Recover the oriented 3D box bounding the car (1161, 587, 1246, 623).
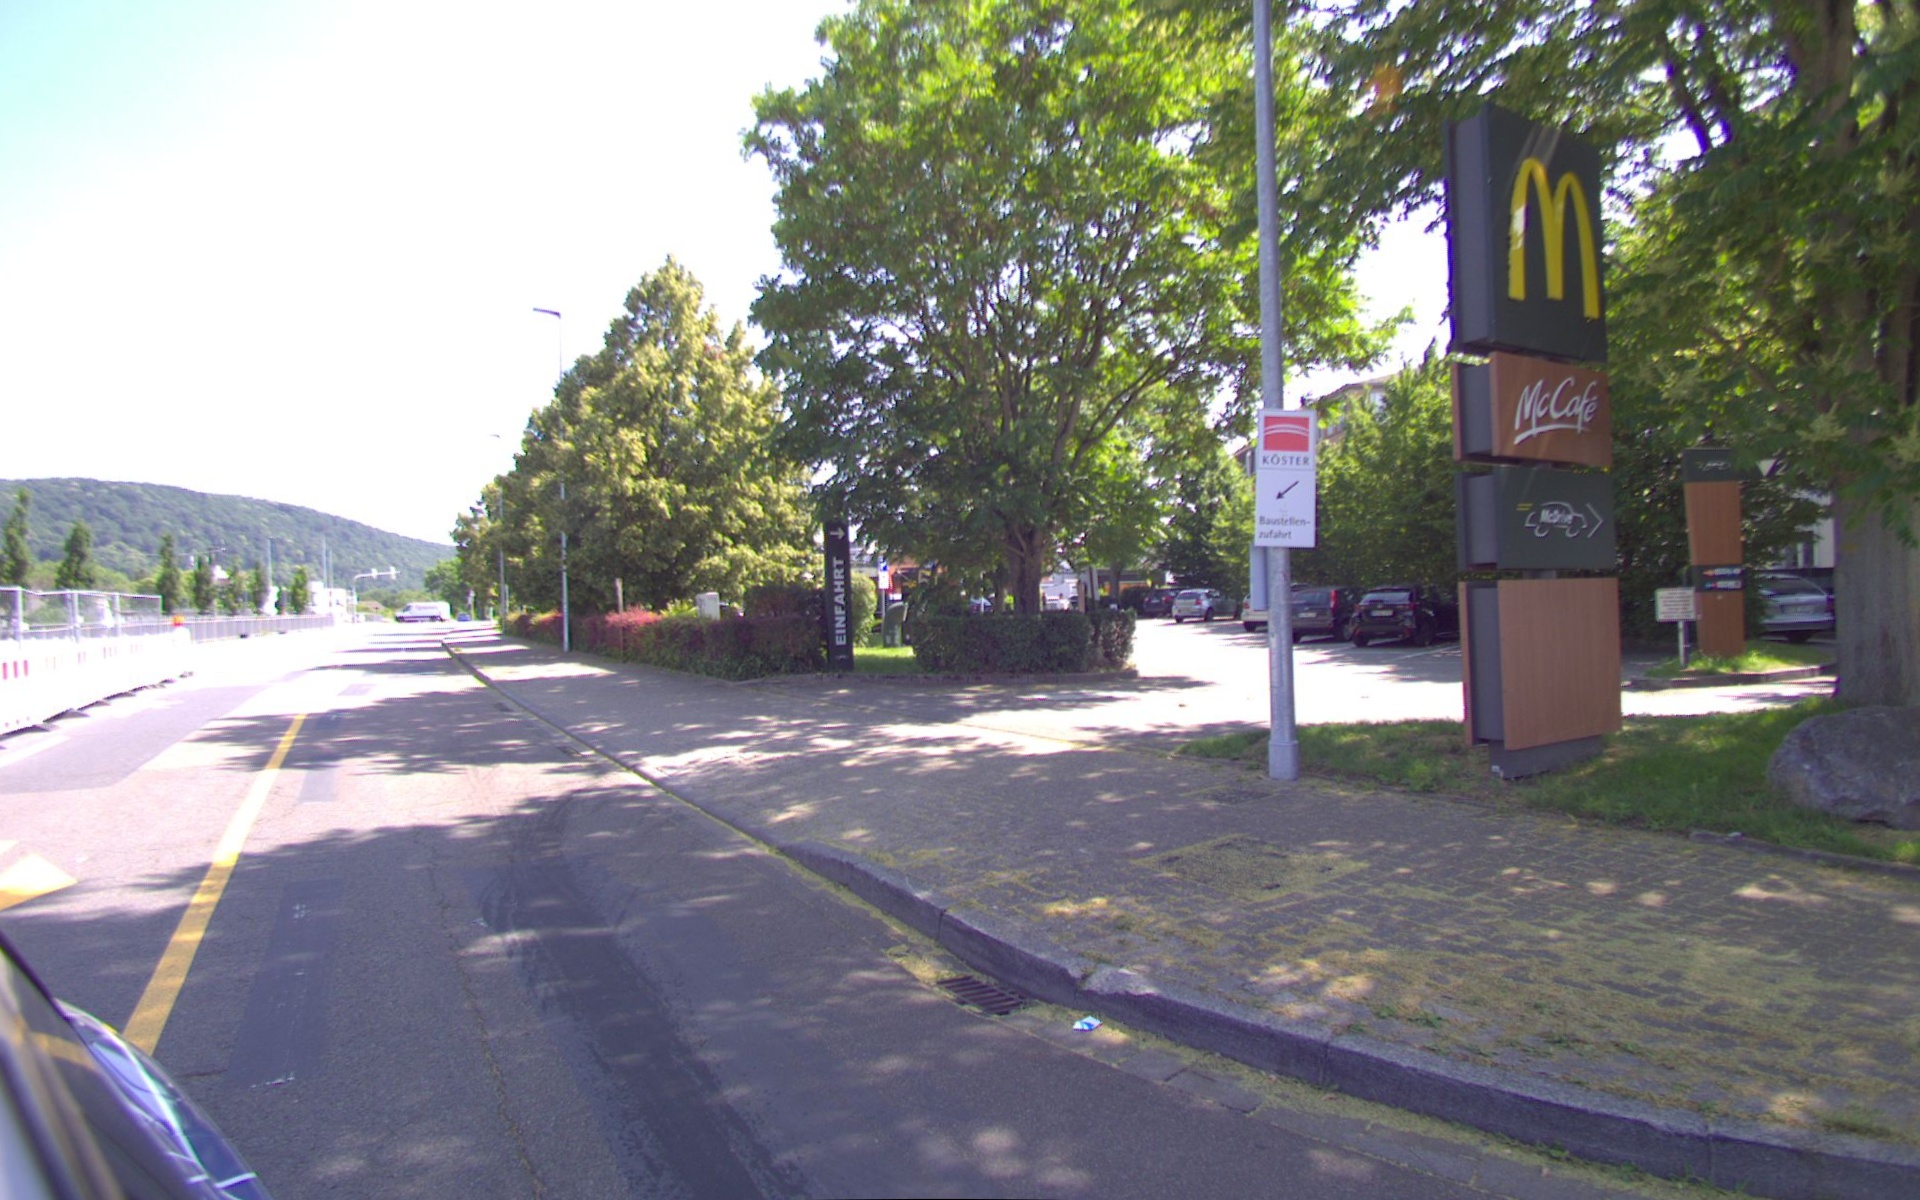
[{"bbox_3d":[10.993,0.221,45.510,3.987,1.461,1.796,-3,0,-43],"label":"car"}]

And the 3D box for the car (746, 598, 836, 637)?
[{"bbox_3d":[-8.557,0.874,51.370,1.749,1.841,4.292,-3,-1,43],"label":"car"}]

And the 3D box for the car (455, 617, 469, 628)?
[{"bbox_3d":[-69.007,3.115,140.185,1.583,1.547,3.694,-1,0,-28],"label":"car"}]

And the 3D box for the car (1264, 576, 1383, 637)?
[{"bbox_3d":[11.466,0.179,31.840,3.962,1.745,1.804,-3,0,-42],"label":"car"}]

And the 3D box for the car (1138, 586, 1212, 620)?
[{"bbox_3d":[11.259,0.151,52.933,3.810,1.588,1.822,-3,0,-41],"label":"car"}]

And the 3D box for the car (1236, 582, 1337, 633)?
[{"bbox_3d":[11.324,0.239,34.973,3.791,1.599,1.645,-3,0,-43],"label":"car"}]

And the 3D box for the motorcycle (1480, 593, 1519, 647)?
[{"bbox_3d":[12.105,0.428,22.684,0.568,1.124,2.159,-2,0,33],"label":"motorcycle"}]

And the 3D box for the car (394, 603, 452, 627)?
[{"bbox_3d":[-62.960,1.763,118.724,5.548,2.362,2.313,-3,2,1],"label":"car"}]

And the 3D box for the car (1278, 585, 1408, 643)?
[{"bbox_3d":[10.599,0.359,27.887,4.009,1.406,1.629,-3,0,-42],"label":"car"}]

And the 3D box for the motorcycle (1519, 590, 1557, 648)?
[{"bbox_3d":[12.453,0.396,21.788,0.568,1.140,2.159,-2,0,33],"label":"motorcycle"}]

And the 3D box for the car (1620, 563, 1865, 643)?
[{"bbox_3d":[16.171,0.093,21.262,1.691,1.414,4.385,-4,-1,1],"label":"car"}]

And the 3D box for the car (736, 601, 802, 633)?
[{"bbox_3d":[-11.856,1.053,62.672,4.224,1.812,1.737,-2,0,40],"label":"car"}]

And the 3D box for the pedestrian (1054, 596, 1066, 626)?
[{"bbox_3d":[5.063,0.552,51.265,0.508,1.491,0.536,-2,0,0],"label":"pedestrian"}]

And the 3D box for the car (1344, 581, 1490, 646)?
[{"bbox_3d":[11.336,0.301,24.981,4.032,1.398,1.772,-3,0,-42],"label":"car"}]
